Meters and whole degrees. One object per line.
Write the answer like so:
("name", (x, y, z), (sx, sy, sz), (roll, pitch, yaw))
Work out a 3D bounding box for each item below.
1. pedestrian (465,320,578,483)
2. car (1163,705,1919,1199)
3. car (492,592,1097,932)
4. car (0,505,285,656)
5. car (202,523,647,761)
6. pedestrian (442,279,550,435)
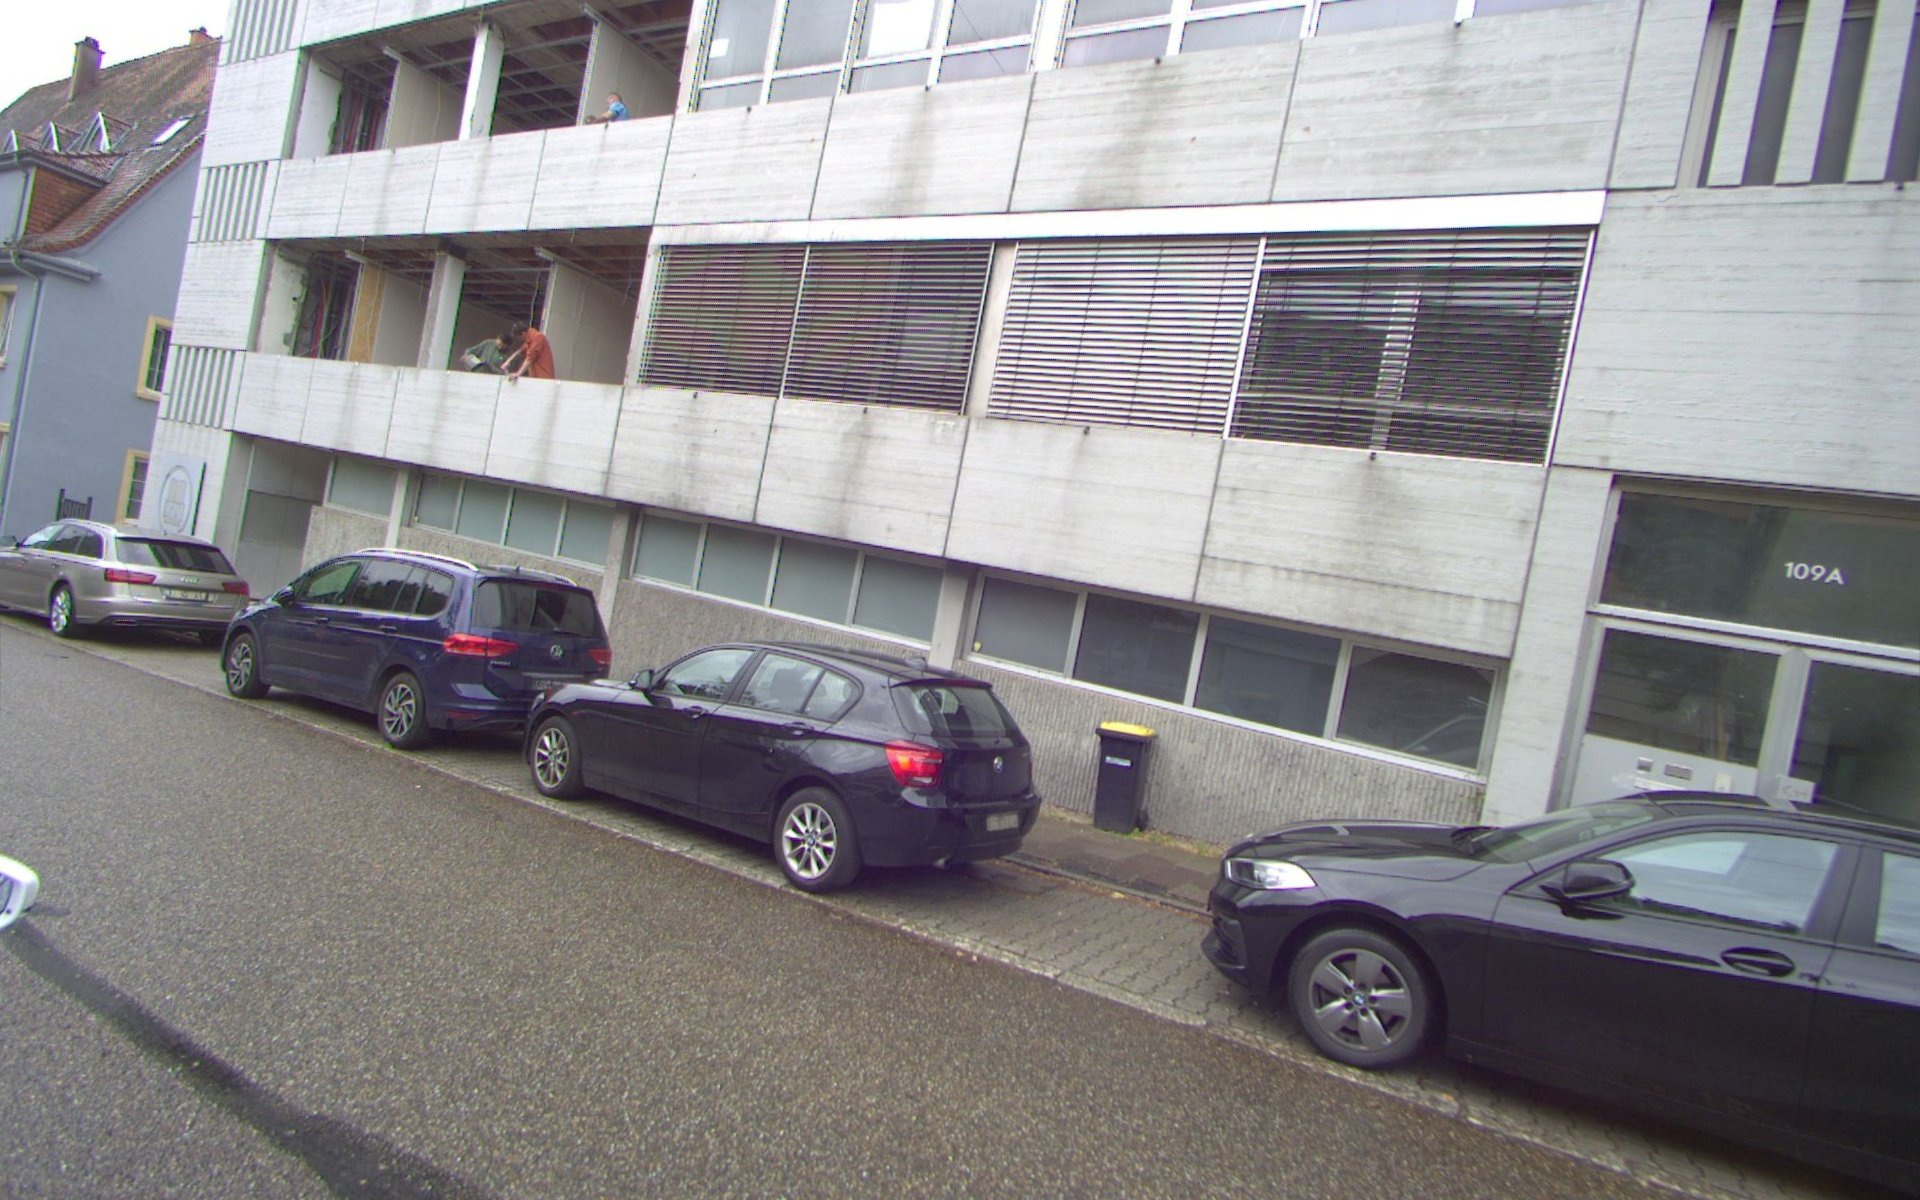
("pedestrian", (-6.193, -2.775, 14.241), (0.846, 2.036, 0.909), (6, -2, 31))
("car", (3.427, 1.559, 4.607), (4.367, 1.451, 1.999), (7, -2, 30))
("car", (-1.345, 0.949, 7.348), (4.183, 1.465, 1.750), (7, -1, 34))
("car", (-11.498, -0.314, 13.696), (4.449, 1.465, 1.966), (7, -1, 30))
("car", (-5.213, 0.330, 9.682), (4.090, 1.618, 1.732), (7, -1, 30))
("pedestrian", (-6.908, -3.580, 14.993), (0.846, 2.036, 0.909), (6, -2, 31))
